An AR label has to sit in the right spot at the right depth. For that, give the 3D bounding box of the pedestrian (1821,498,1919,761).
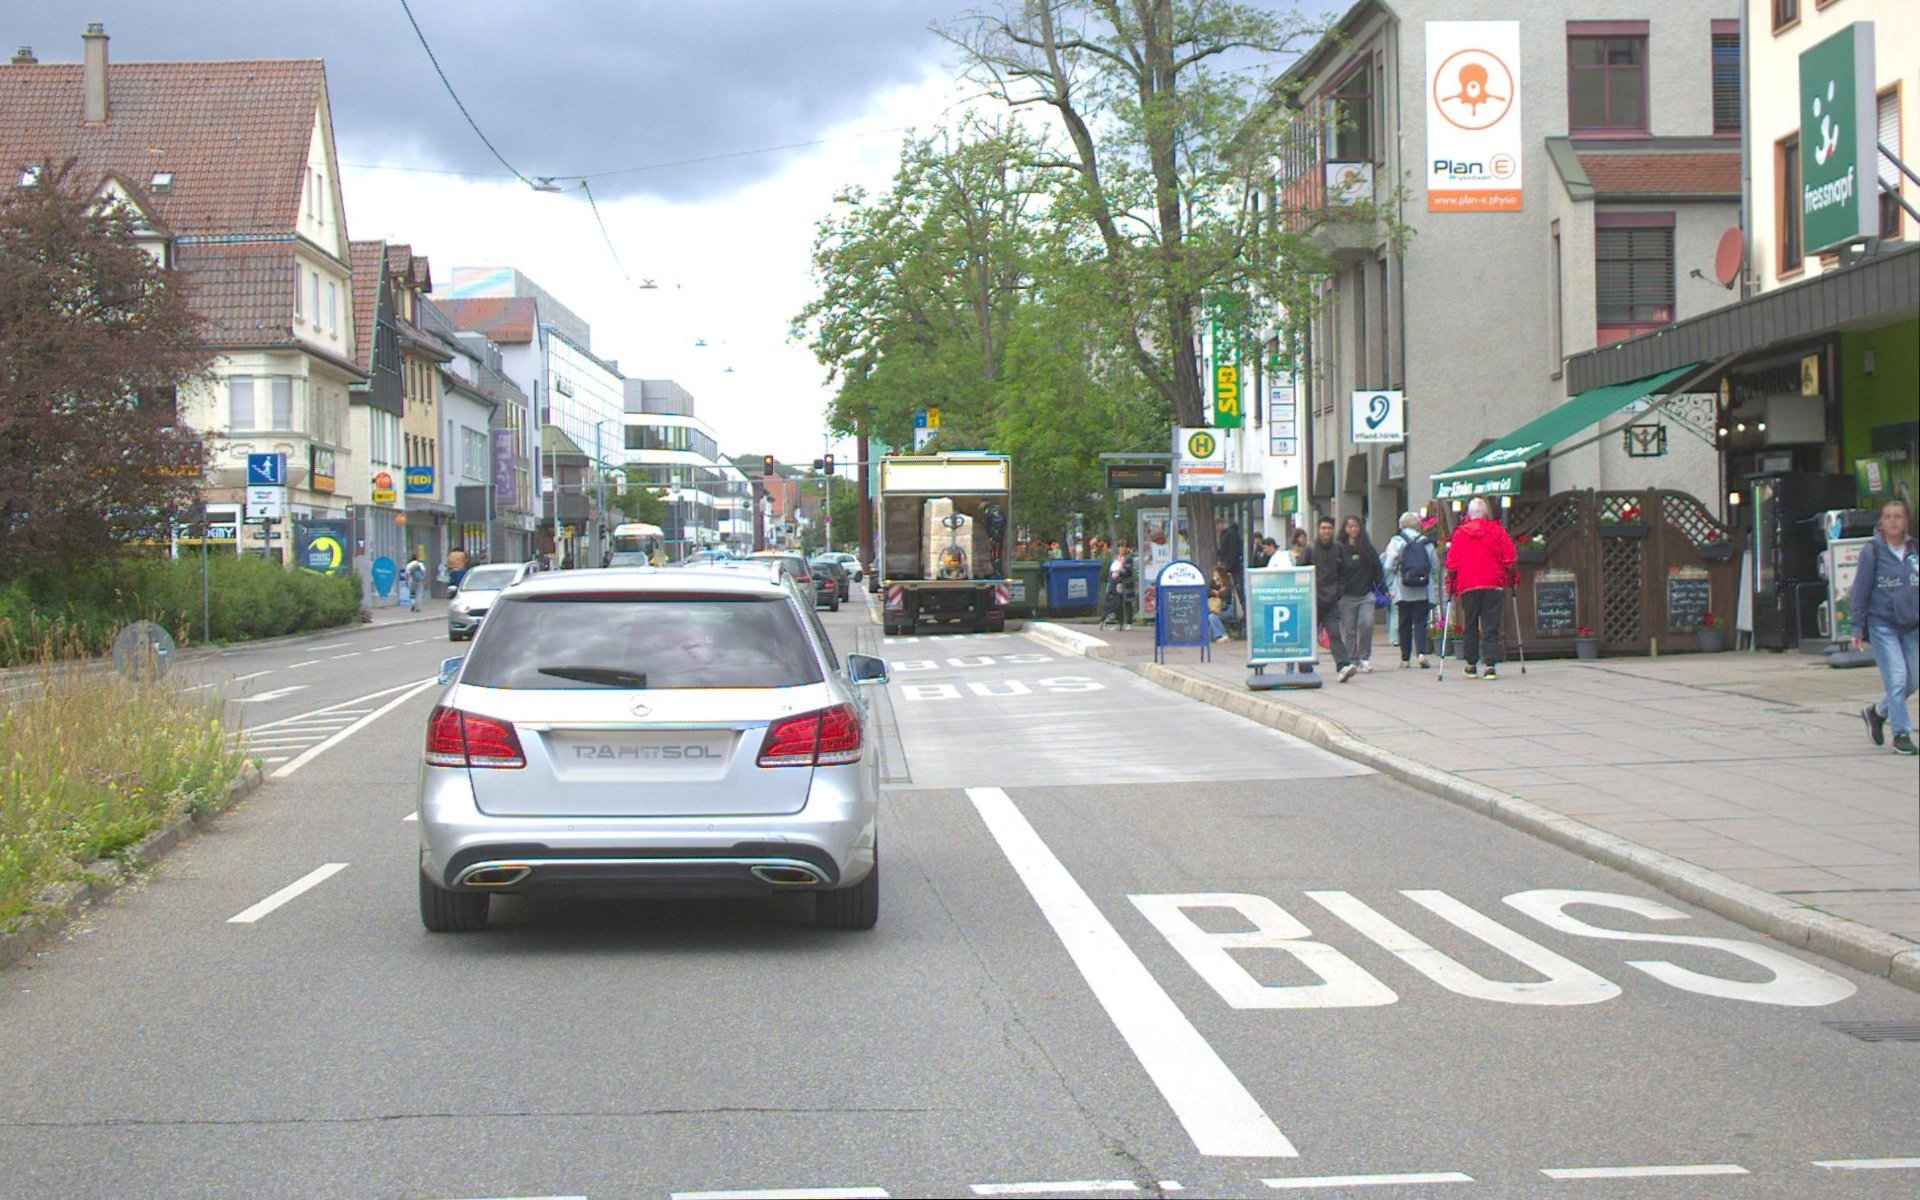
[{"bbox_3d":[5.910,0.176,21.774,0.687,1.629,0.853,-1,1,1],"label":"pedestrian"}]

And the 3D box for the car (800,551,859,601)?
[{"bbox_3d":[-4.519,-0.840,119.637,1.993,1.678,4.000,-1,1,-1],"label":"car"}]

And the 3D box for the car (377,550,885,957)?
[{"bbox_3d":[-1.340,0.546,14.731,1.874,1.501,4.001,0,1,-4],"label":"car"}]

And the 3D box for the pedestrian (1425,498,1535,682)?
[{"bbox_3d":[5.063,-0.090,33.495,0.795,1.736,0.782,-3,-1,-7],"label":"pedestrian"}]

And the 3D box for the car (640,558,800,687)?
[{"bbox_3d":[-3.258,0.269,47.338,1.993,1.678,4.000,-1,1,-1],"label":"car"}]

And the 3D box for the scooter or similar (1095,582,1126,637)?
[{"bbox_3d":[2.624,0.161,60.093,0.384,0.955,0.355,-2,1,-43],"label":"scooter or similar"}]

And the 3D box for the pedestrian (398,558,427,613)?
[{"bbox_3d":[-16.559,-0.435,104.001,0.816,1.629,0.980,1,1,-7],"label":"pedestrian"}]

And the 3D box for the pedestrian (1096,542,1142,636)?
[{"bbox_3d":[2.797,-0.194,60.542,0.534,1.629,0.588,2,1,-26],"label":"pedestrian"}]

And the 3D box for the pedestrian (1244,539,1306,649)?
[{"bbox_3d":[4.749,-0.094,51.834,0.613,1.629,0.794,-1,2,-23],"label":"pedestrian"}]

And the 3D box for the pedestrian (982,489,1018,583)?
[{"bbox_3d":[0.767,-1.225,66.074,0.613,1.774,0.588,-1,-1,-5],"label":"pedestrian"}]

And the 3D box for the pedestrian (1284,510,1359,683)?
[{"bbox_3d":[3.573,-0.037,34.050,0.612,1.672,0.615,2,1,0],"label":"pedestrian"}]

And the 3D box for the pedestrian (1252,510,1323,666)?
[{"bbox_3d":[3.468,-0.125,36.415,0.612,1.629,0.615,-1,0,-4],"label":"pedestrian"}]

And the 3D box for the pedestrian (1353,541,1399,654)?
[{"bbox_3d":[6.034,-0.040,49.854,0.586,1.629,0.615,0,1,0],"label":"pedestrian"}]

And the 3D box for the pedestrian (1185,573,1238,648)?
[{"bbox_3d":[3.978,0.164,54.421,0.711,1.162,0.588,0,1,-8],"label":"pedestrian"}]

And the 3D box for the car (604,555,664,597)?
[{"bbox_3d":[-14.122,-1.057,149.282,2.069,1.732,4.693,-2,1,0],"label":"car"}]

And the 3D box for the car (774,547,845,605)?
[{"bbox_3d":[-4.464,-0.716,102.443,1.993,1.678,4.000,-1,1,-1],"label":"car"}]

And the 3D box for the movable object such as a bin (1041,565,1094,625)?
[{"bbox_3d":[2.444,-0.120,78.092,1.143,1.335,1.376,-1,1,0],"label":"movable object such as a bin"}]

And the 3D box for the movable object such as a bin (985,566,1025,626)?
[{"bbox_3d":[1.016,-0.092,78.269,0.881,1.335,1.085,-1,1,0],"label":"movable object such as a bin"}]

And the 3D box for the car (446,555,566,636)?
[{"bbox_3d":[-8.996,-0.093,68.367,1.874,1.501,4.344,-2,0,-1],"label":"car"}]

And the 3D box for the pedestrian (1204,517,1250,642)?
[{"bbox_3d":[4.421,-0.335,56.985,0.613,2.040,0.587,-2,0,12],"label":"pedestrian"}]

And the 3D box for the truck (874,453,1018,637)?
[{"bbox_3d":[-0.386,-1.140,71.729,2.688,3.549,9.767,-1,1,-2],"label":"truck"}]

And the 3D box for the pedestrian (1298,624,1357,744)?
[{"bbox_3d":[4.941,1.120,46.222,0.673,1.562,0.491,1,2,18],"label":"pedestrian"}]

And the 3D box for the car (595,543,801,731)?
[{"bbox_3d":[-2.364,0.289,31.853,1.754,1.515,4.001,0,3,-2],"label":"car"}]

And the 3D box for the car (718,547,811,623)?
[{"bbox_3d":[-4.435,-0.356,78.480,1.993,1.678,4.000,-1,1,-1],"label":"car"}]

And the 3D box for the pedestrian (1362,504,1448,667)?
[{"bbox_3d":[4.844,-0.150,37.458,0.682,1.736,0.782,-3,-1,-7],"label":"pedestrian"}]

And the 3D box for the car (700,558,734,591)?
[{"bbox_3d":[-11.690,-1.220,165.101,1.570,1.535,2.961,1,1,-4],"label":"car"}]

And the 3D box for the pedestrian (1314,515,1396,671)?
[{"bbox_3d":[4.180,-0.073,36.443,0.718,1.629,0.615,-1,0,-4],"label":"pedestrian"}]
